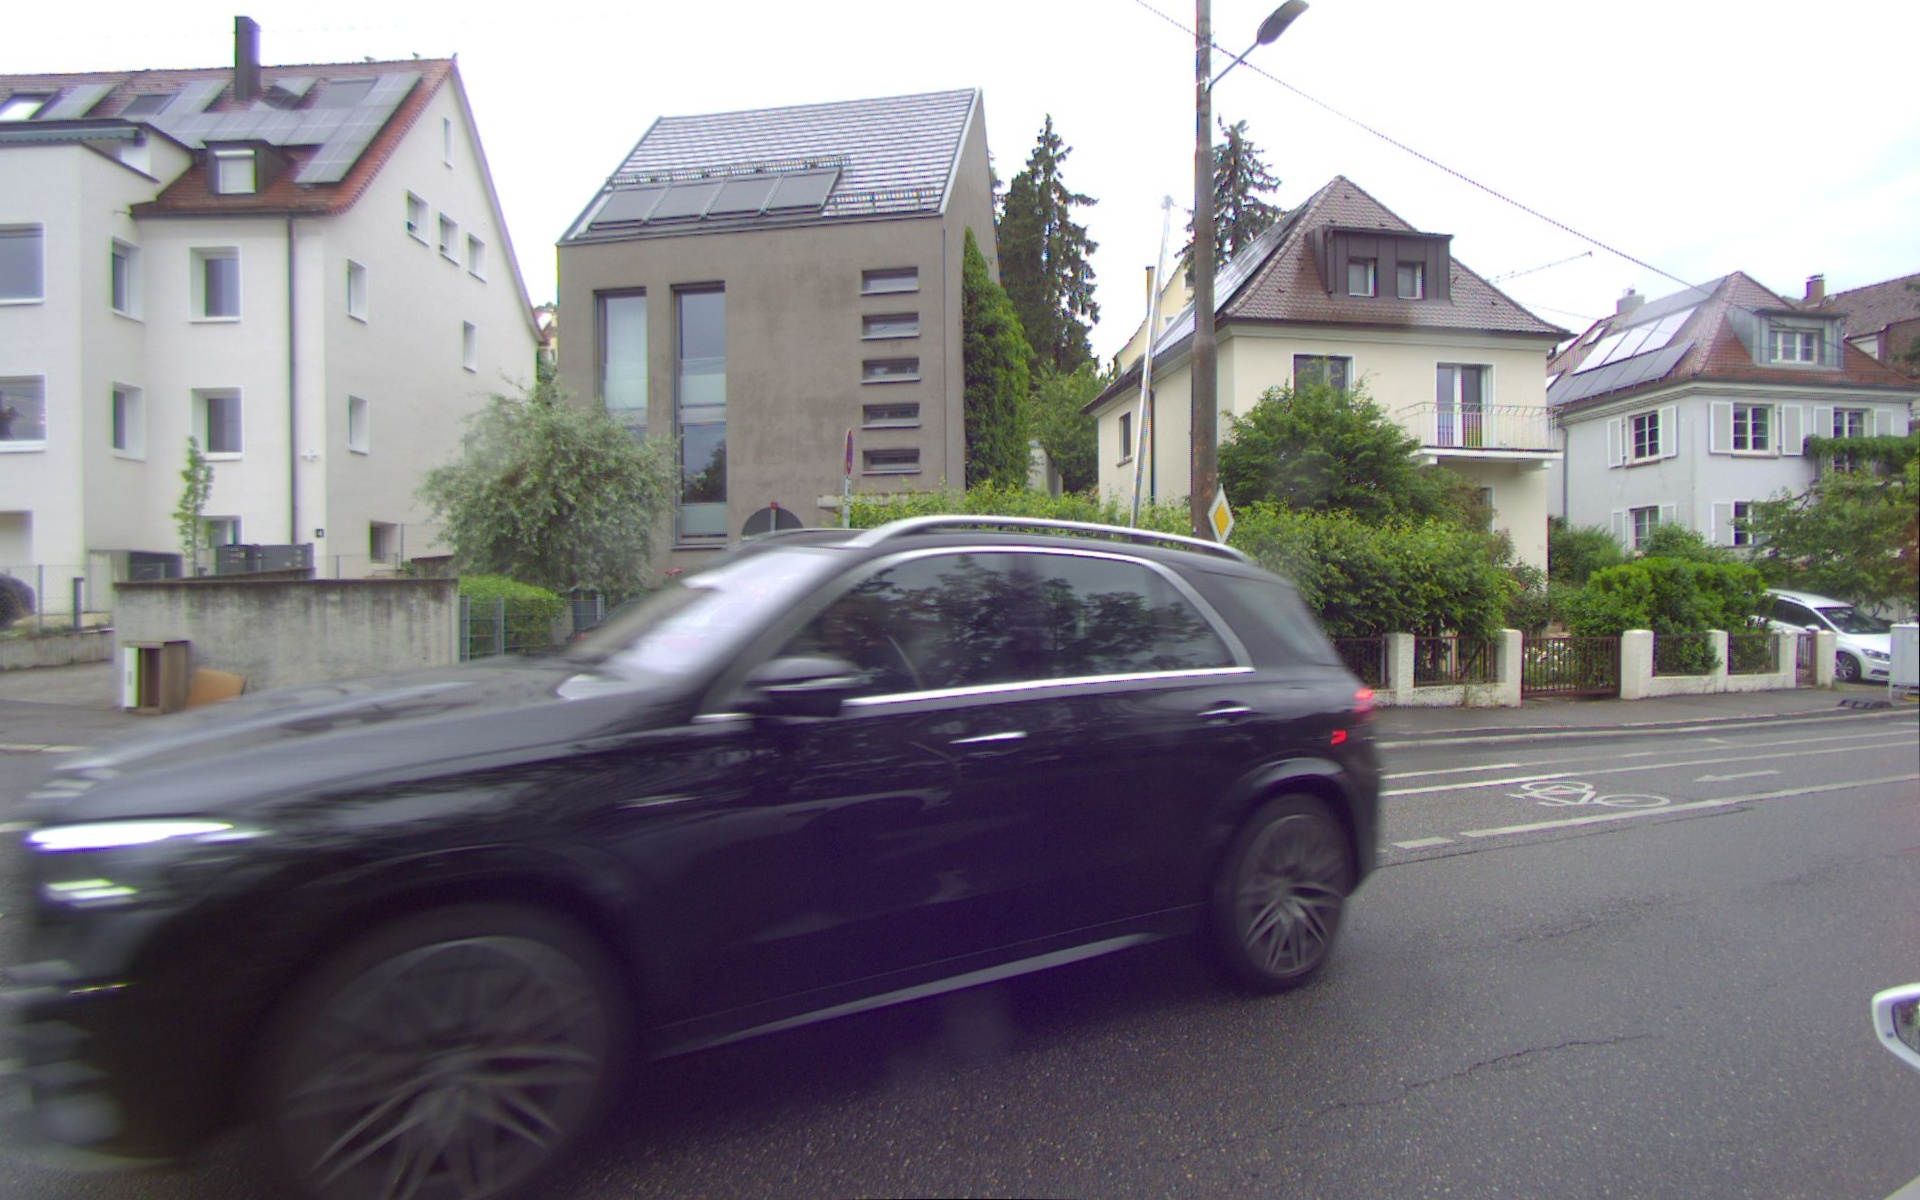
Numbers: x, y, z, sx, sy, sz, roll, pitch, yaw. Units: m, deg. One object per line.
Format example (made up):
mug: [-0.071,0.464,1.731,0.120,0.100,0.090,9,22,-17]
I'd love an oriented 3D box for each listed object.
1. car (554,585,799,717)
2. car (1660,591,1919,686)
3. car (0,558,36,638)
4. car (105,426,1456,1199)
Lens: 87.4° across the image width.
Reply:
car: [-3.605,0.565,13.570,1.740,1.506,4.002,0,1,7]
car: [19.599,0.819,23.907,1.870,2.033,4.628,1,0,-18]
car: [-16.728,0.052,15.164,1.576,1.298,4.008,2,4,6]
car: [-0.258,0.575,3.970,4.504,1.771,1.967,1,0,-33]
